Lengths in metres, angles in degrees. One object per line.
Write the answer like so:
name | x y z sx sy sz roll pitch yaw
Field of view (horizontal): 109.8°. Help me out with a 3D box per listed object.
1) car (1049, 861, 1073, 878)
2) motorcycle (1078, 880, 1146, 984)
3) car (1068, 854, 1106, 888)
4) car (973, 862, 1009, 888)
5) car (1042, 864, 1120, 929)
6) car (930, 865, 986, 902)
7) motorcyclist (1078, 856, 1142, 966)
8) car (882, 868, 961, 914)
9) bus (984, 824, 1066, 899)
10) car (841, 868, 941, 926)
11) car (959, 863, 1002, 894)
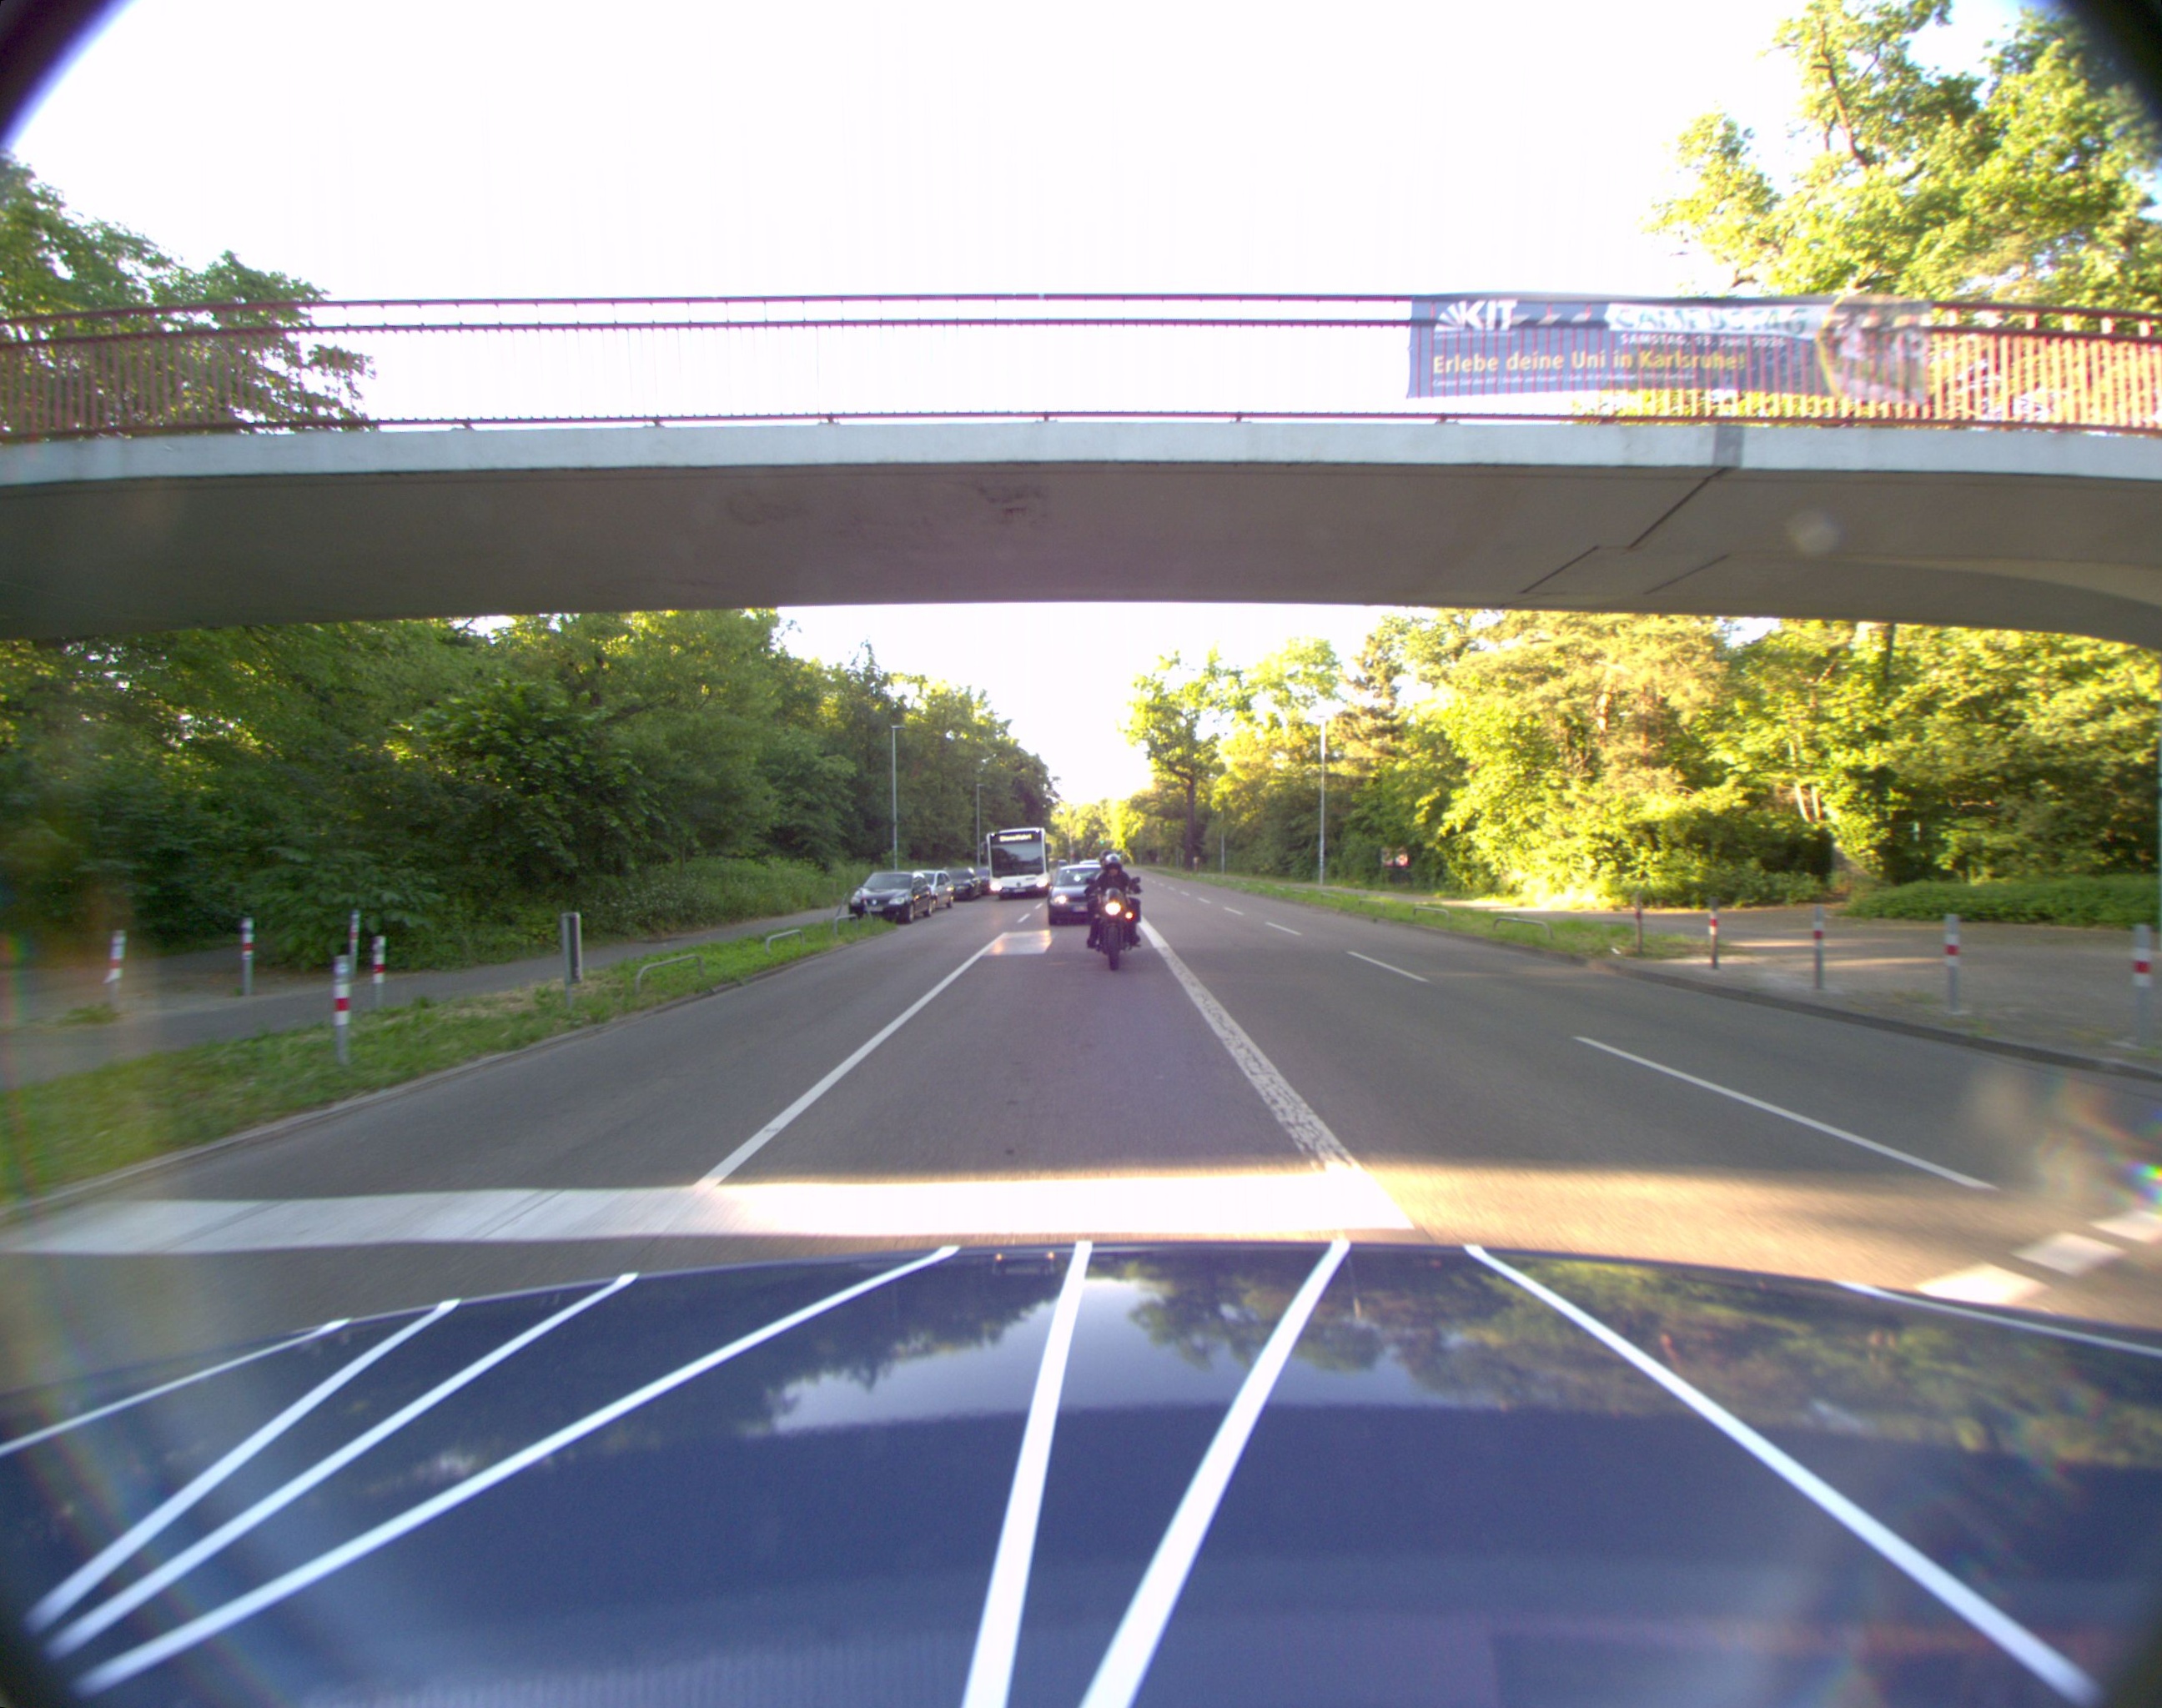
car | -1.741 1.326 66.334 1.873 1.398 4.369 -1 0 1
motorcycle | 0.420 1.052 11.042 0.830 1.211 2.604 -2 0 1
car | 0.362 0.840 39.172 1.678 1.552 3.995 -2 0 4
car | -5.435 1.257 46.256 1.589 1.445 3.943 -1 0 2
car | 0.105 1.003 19.304 1.678 1.351 3.995 -2 0 4
car | -5.524 1.275 34.658 1.779 1.445 5.037 -1 0 0
motorcyclist | 0.413 0.793 11.039 0.830 1.484 1.024 -2 0 1
car | -5.680 1.278 27.545 1.778 1.445 4.015 -1 0 4
bus | -2.485 0.318 38.373 2.812 3.030 12.886 -2 0 1
car | -5.545 1.209 22.756 1.778 1.445 4.388 -1 0 2
car | -5.209 1.254 39.997 1.641 1.445 4.897 -1 0 0
